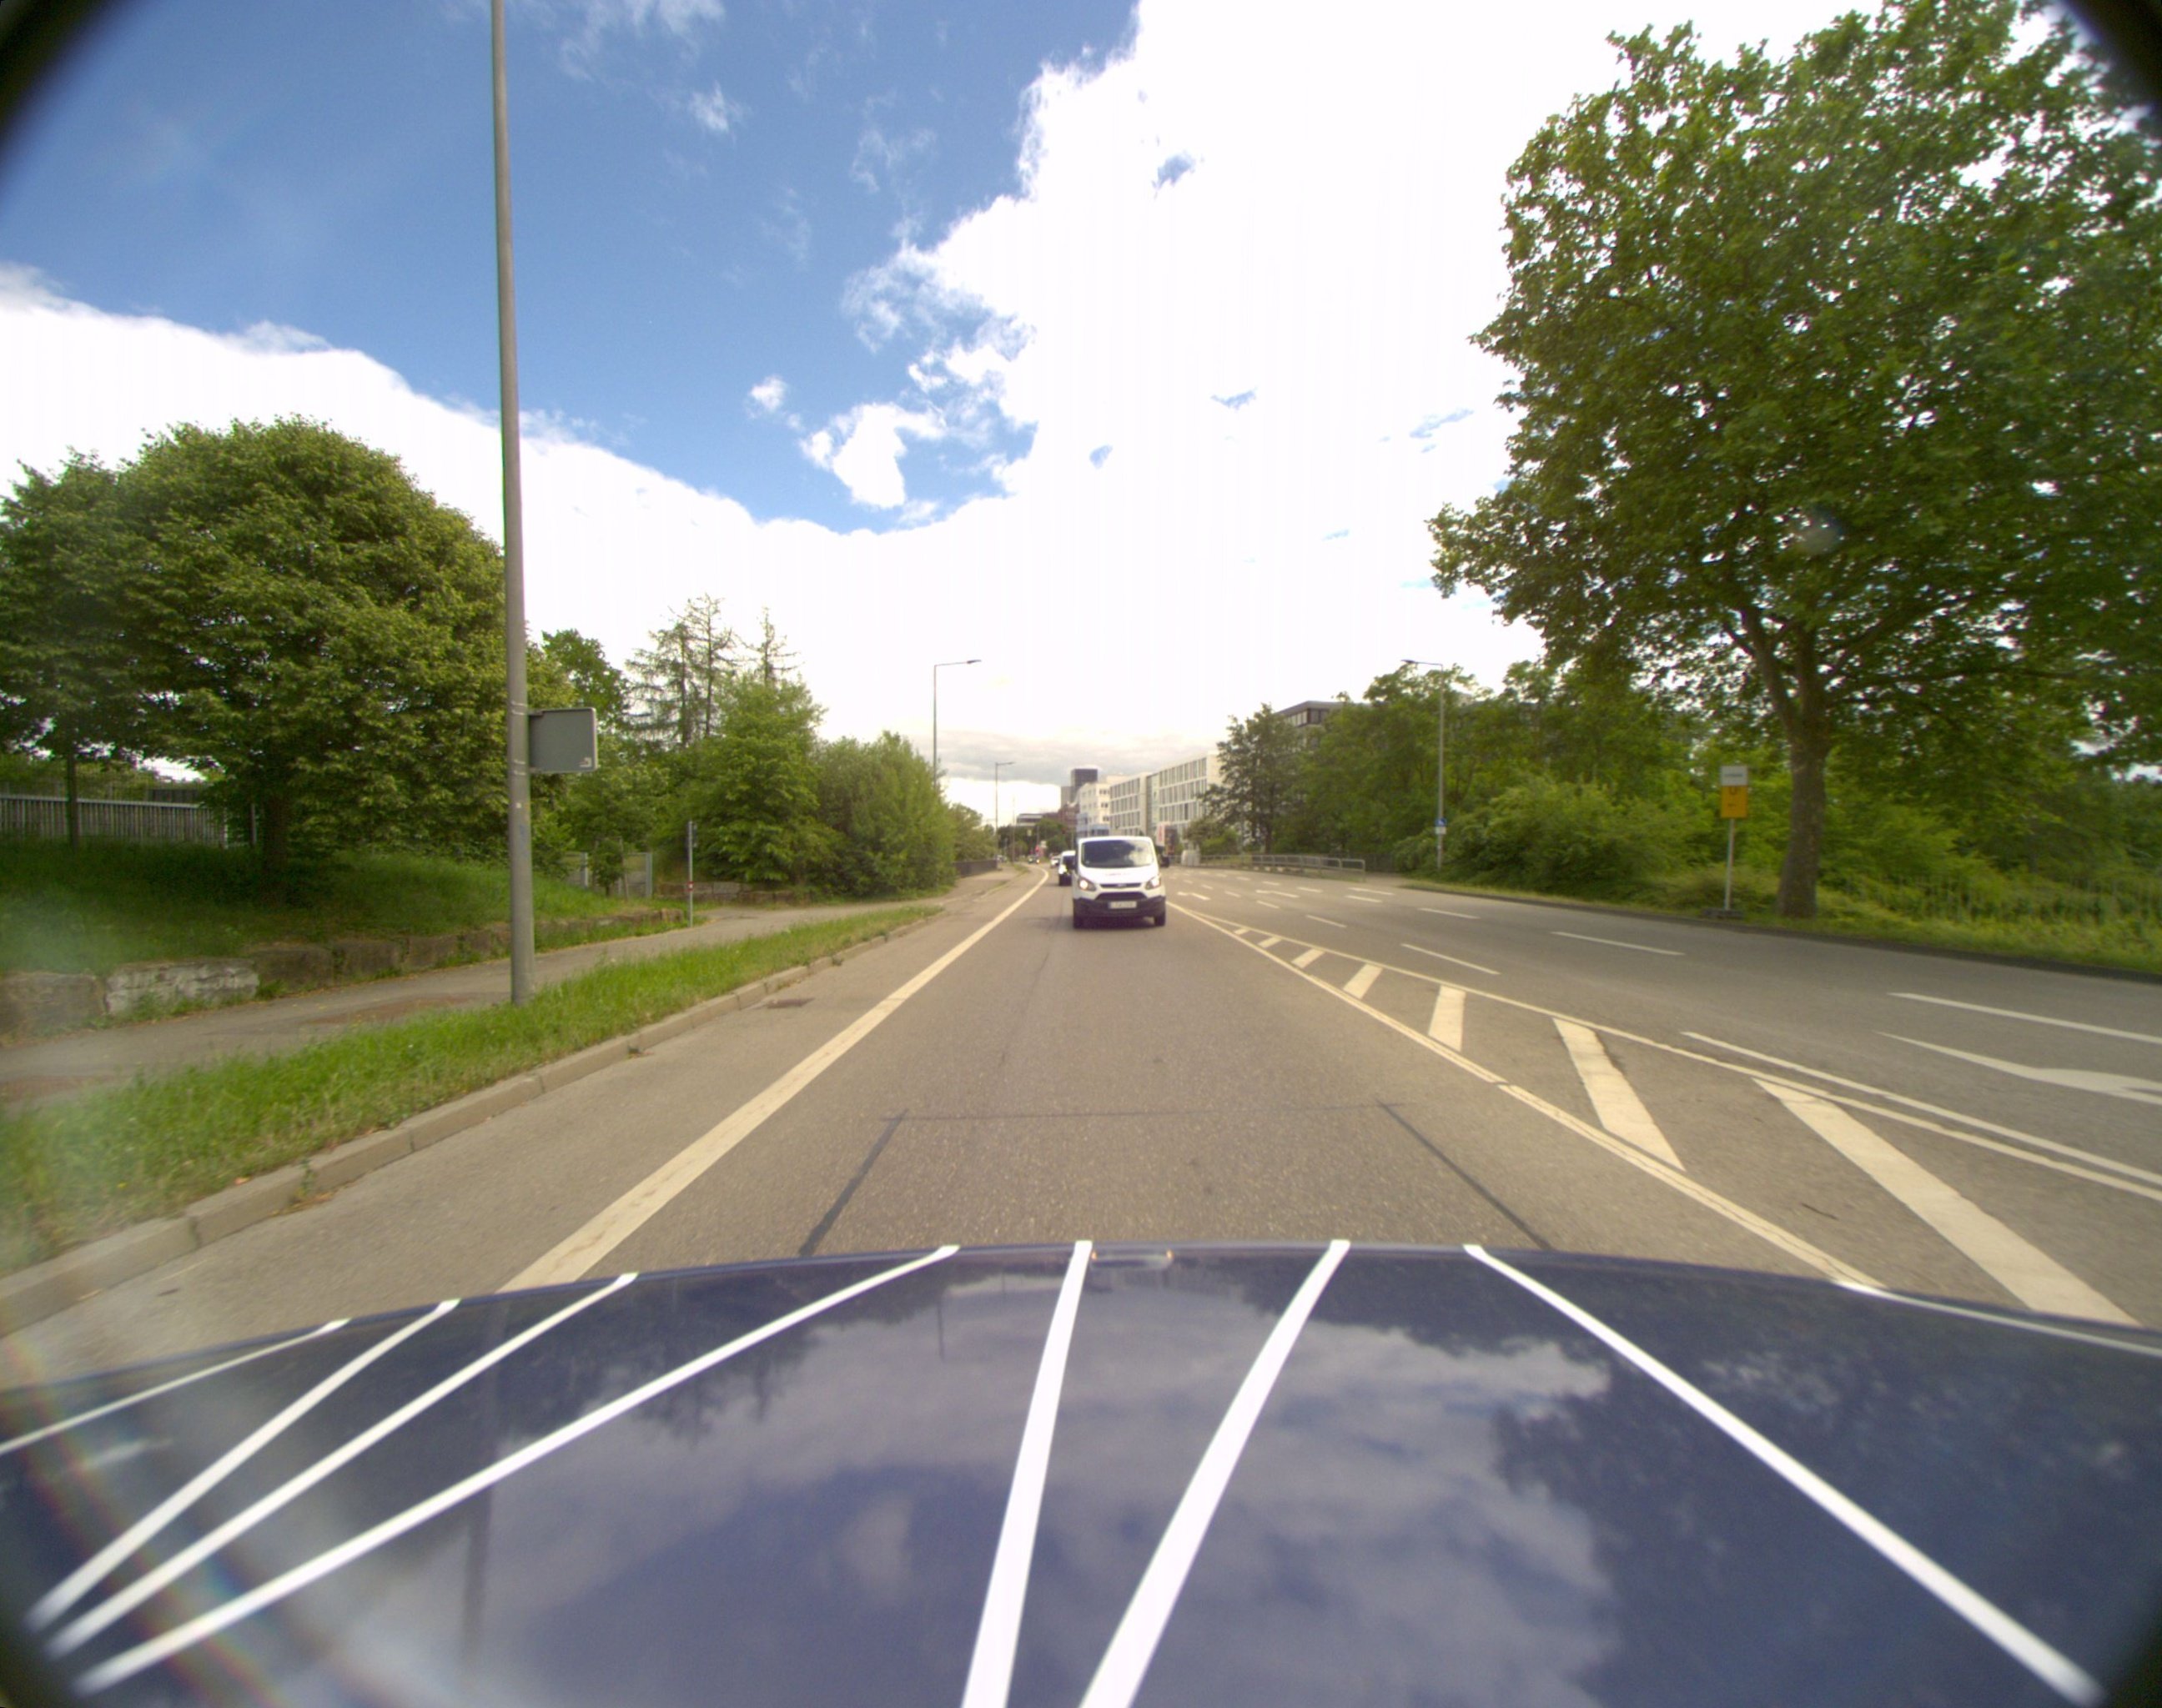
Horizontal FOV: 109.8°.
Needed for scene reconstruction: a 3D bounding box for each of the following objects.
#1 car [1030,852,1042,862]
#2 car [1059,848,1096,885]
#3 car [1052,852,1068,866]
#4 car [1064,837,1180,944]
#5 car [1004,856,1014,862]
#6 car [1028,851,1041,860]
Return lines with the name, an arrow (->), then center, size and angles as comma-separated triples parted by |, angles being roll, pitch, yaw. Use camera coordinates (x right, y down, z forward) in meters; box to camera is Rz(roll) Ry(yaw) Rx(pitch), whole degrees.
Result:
car -> -8.008, 0.571, 135.526 | 1.873, 1.685, 4.368 | -1, 0, -7
car -> -0.203, 0.624, 40.671 | 1.872, 1.836, 4.371 | -1, 0, -1
car -> -2.704, 0.655, 96.333 | 1.873, 1.685, 4.370 | -1, 0, -4
car -> 0.766, 0.669, 17.341 | 2.122, 1.963, 6.206 | -1, 0, 0
car -> -16.316, 1.149, 172.302 | 1.737, 1.432, 4.363 | -1, 0, -13
car -> -8.888, 0.341, 144.455 | 1.874, 1.685, 4.367 | -1, 0, -10
